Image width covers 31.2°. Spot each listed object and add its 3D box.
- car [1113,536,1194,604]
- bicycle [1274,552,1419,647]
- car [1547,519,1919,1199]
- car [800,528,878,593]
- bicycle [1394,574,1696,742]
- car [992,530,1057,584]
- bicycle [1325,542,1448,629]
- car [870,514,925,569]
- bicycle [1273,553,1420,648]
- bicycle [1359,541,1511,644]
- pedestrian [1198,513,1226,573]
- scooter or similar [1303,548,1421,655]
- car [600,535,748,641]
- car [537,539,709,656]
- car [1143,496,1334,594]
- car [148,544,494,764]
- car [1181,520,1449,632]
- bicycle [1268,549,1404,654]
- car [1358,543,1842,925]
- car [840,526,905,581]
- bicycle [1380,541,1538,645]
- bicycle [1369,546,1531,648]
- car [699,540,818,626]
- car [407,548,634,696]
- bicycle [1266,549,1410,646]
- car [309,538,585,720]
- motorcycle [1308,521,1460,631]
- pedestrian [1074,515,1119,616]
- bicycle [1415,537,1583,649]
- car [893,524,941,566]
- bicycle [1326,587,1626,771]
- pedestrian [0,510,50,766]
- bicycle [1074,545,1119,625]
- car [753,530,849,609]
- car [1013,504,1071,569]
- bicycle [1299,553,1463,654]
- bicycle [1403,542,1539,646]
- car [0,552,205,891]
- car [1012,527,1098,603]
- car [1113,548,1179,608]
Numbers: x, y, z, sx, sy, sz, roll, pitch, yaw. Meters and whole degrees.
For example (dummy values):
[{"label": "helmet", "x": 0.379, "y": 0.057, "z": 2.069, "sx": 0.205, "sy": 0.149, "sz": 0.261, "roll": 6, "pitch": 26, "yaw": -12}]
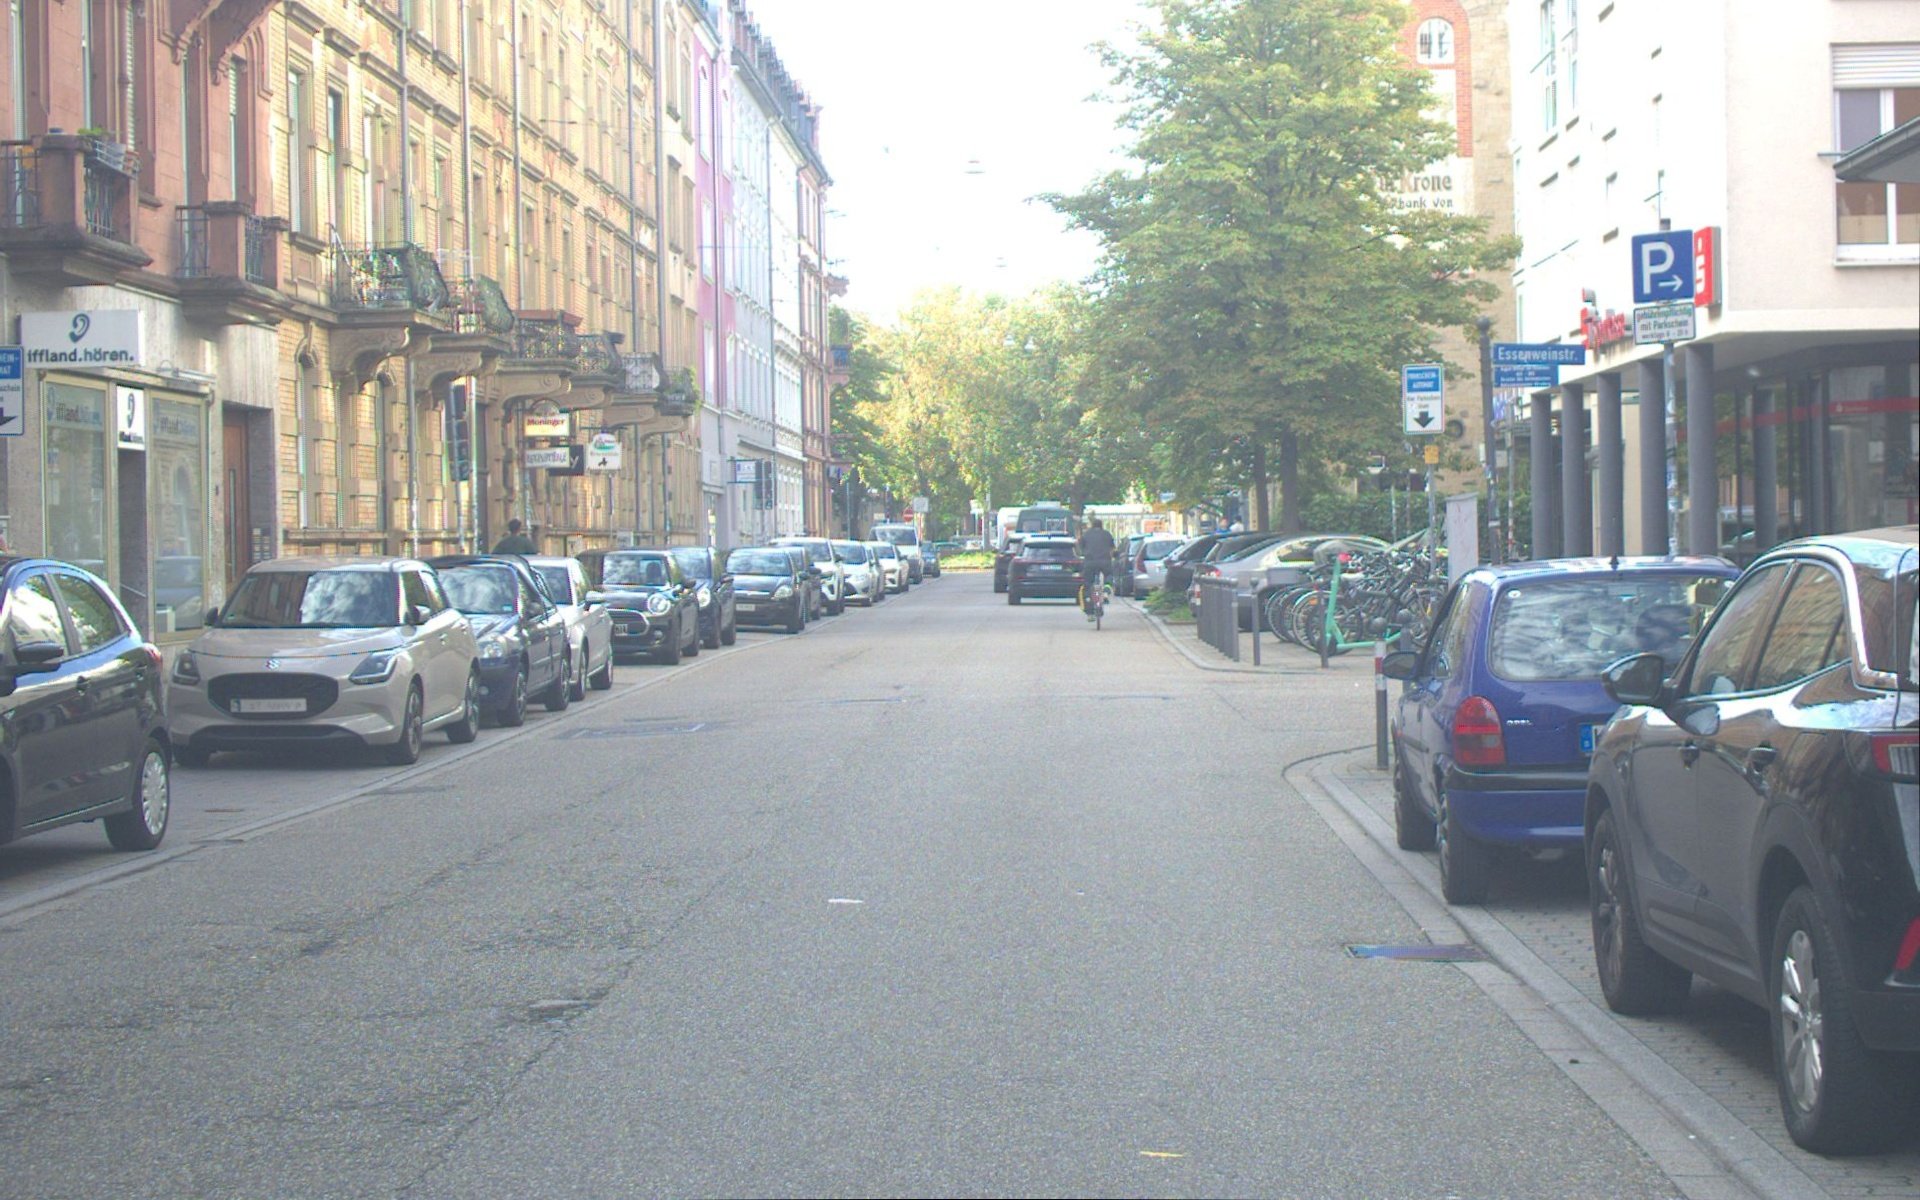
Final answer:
[{"label": "car", "x": 4.832, "y": -0.774, "z": 86.368, "sx": 1.930, "sy": 1.632, "sz": 4.000, "roll": 1, "pitch": 1, "yaw": 2}, {"label": "bicycle", "x": 4.912, "y": -0.009, "z": 43.763, "sx": 1.766, "sy": 1.115, "sz": 0.411, "roll": -3, "pitch": 1, "yaw": 5}, {"label": "car", "x": 2.820, "y": 0.559, "z": 9.593, "sx": 1.688, "sy": 1.572, "sz": 3.902, "roll": -1, "pitch": 1, "yaw": 0}, {"label": "car", "x": -2.945, "y": -0.973, "z": 84.603, "sx": 1.690, "sy": 1.545, "sz": 3.867, "roll": 1, "pitch": 1, "yaw": 1}, {"label": "bicycle", "x": 3.965, "y": 0.392, "z": 23.421, "sx": 1.962, "sy": 1.091, "sz": 0.688, "roll": -1, "pitch": 0, "yaw": 45}, {"label": "car", "x": 1.814, "y": -1.239, "z": 97.082, "sx": 1.797, "sy": 1.467, "sz": 3.888, "roll": 1, "pitch": 1, "yaw": 1}, {"label": "bicycle", "x": 6.111, "y": -0.205, "z": 49.290, "sx": 1.664, "sy": 1.155, "sz": 0.557, "roll": -3, "pitch": 1, "yaw": 4}, {"label": "car", "x": -2.089, "y": -1.985, "z": 116.103, "sx": 1.690, "sy": 1.815, "sz": 3.867, "roll": 1, "pitch": 1, "yaw": 1}, {"label": "bicycle", "x": 4.828, "y": 0.008, "z": 43.021, "sx": 1.766, "sy": 1.095, "sz": 0.411, "roll": -3, "pitch": 1, "yaw": 5}, {"label": "bicycle", "x": 5.744, "y": -0.094, "z": 41.551, "sx": 1.765, "sy": 1.142, "sz": 0.411, "roll": -3, "pitch": 1, "yaw": -18}, {"label": "pedestrian", "x": 9.443, "y": -2.126, "z": 128.832, "sx": 0.995, "sy": 2.222, "sz": 0.898, "roll": 1, "pitch": 1, "yaw": 3}, {"label": "scooter or similar", "x": 4.504, "y": 0.017, "z": 38.519, "sx": 1.208, "sy": 1.143, "sz": 0.378, "roll": -2, "pitch": 2, "yaw": 34}, {"label": "car", "x": -4.093, "y": -0.206, "z": 49.682, "sx": 1.690, "sy": 1.432, "sz": 3.867, "roll": 1, "pitch": 1, "yaw": 2}, {"label": "car", "x": -4.246, "y": -0.063, "z": 43.829, "sx": 1.690, "sy": 1.382, "sz": 3.867, "roll": 1, "pitch": 1, "yaw": 2}, {"label": "car", "x": 6.037, "y": -1.200, "z": 74.341, "sx": 3.988, "sy": 1.678, "sz": 1.737, "roll": -3, "pitch": 9, "yaw": 6}, {"label": "car", "x": -4.698, "y": 0.341, "z": 25.801, "sx": 1.742, "sy": 1.478, "sz": 3.983, "roll": 1, "pitch": 1, "yaw": 2}, {"label": "car", "x": 5.480, "y": -0.371, "z": 53.255, "sx": 3.759, "sy": 1.541, "sz": 1.731, "roll": -3, "pitch": 0, "yaw": -8}, {"label": "bicycle", "x": 4.427, "y": 0.013, "z": 40.503, "sx": 1.495, "sy": 1.142, "sz": 0.411, "roll": -3, "pitch": 1, "yaw": -3}, {"label": "car", "x": 2.743, "y": 0.495, "z": 15.496, "sx": 1.595, "sy": 1.434, "sz": 4.030, "roll": -1, "pitch": 1, "yaw": 3}, {"label": "car", "x": -2.509, "y": -1.342, "z": 99.658, "sx": 1.690, "sy": 1.545, "sz": 3.867, "roll": 1, "pitch": 1, "yaw": 1}, {"label": "bicycle", "x": 5.953, "y": -0.085, "z": 41.039, "sx": 1.765, "sy": 1.142, "sz": 0.411, "roll": -3, "pitch": 1, "yaw": -3}, {"label": "bicycle", "x": 5.650, "y": -0.037, "z": 39.728, "sx": 1.766, "sy": 1.083, "sz": 0.650, "roll": -3, "pitch": 1, "yaw": 4}, {"label": "car", "x": -3.492, "y": -0.326, "z": 60.097, "sx": 1.690, "sy": 1.364, "sz": 3.867, "roll": 2, "pitch": 1, "yaw": 2}, {"label": "car", "x": -4.412, "y": 0.183, "z": 34.982, "sx": 1.690, "sy": 1.382, "sz": 3.867, "roll": 1, "pitch": 1, "yaw": 2}, {"label": "bicycle", "x": 4.911, "y": -0.032, "z": 44.697, "sx": 1.794, "sy": 1.155, "sz": 0.500, "roll": -3, "pitch": 1, "yaw": 5}, {"label": "car", "x": -4.494, "y": 0.205, "z": 30.619, "sx": 1.742, "sy": 1.478, "sz": 3.983, "roll": 1, "pitch": 1, "yaw": 2}, {"label": "motorcycle", "x": 6.278, "y": -0.359, "z": 50.973, "sx": 2.151, "sy": 1.525, "sz": 0.686, "roll": -3, "pitch": 1, "yaw": 7}, {"label": "pedestrian", "x": 2.269, "y": -0.575, "z": 56.931, "sx": 0.718, "sy": 1.644, "sz": 0.930, "roll": 1, "pitch": 1, "yaw": 3}, {"label": "bicycle", "x": 6.051, "y": -0.085, "z": 38.664, "sx": 1.766, "sy": 1.158, "sz": 0.650, "roll": -3, "pitch": 1, "yaw": 4}, {"label": "car", "x": -1.619, "y": -2.107, "z": 131.179, "sx": 1.690, "sy": 1.545, "sz": 3.867, "roll": 1, "pitch": 1, "yaw": 1}, {"label": "bicycle", "x": 3.231, "y": 0.491, "z": 21.625, "sx": 1.769, "sy": 1.091, "sz": 0.682, "roll": -1, "pitch": 1, "yaw": 45}, {"label": "pedestrian", "x": -6.973, "y": 0.251, "z": 24.530, "sx": 0.730, "sy": 1.784, "sz": 0.772, "roll": 3, "pitch": 1, "yaw": -5}, {"label": "bicycle", "x": 2.256, "y": -0.263, "z": 56.798, "sx": 0.718, "sy": 1.270, "sz": 1.884, "roll": 1, "pitch": 1, "yaw": 3}, {"label": "car", "x": -3.313, "y": -0.665, "z": 72.211, "sx": 1.690, "sy": 1.544, "sz": 3.867, "roll": 2, "pitch": 1, "yaw": 1}, {"label": "car", "x": 2.616, "y": -2.047, "z": 110.215, "sx": 1.782, "sy": 2.013, "sz": 3.888, "roll": 1, "pitch": 1, "yaw": 1}, {"label": "bicycle", "x": 4.787, "y": 0.038, "z": 39.121, "sx": 1.765, "sy": 1.053, "sz": 0.411, "roll": -3, "pitch": 1, "yaw": -3}, {"label": "bicycle", "x": 6.016, "y": -0.071, "z": 40.498, "sx": 1.495, "sy": 1.142, "sz": 0.411, "roll": -3, "pitch": 1, "yaw": 2}, {"label": "car", "x": -4.995, "y": 0.510, "z": 16.362, "sx": 1.742, "sy": 1.478, "sz": 3.983, "roll": 1, "pitch": 1, "yaw": 3}, {"label": "car", "x": 2.266, "y": -0.827, "z": 81.239, "sx": 1.965, "sy": 1.735, "sz": 4.041, "roll": 1, "pitch": 0, "yaw": 2}, {"label": "car", "x": 4.891, "y": -0.601, "z": 90.769, "sx": 1.690, "sy": 1.545, "sz": 3.688, "roll": 1, "pitch": 1, "yaw": 3}]
